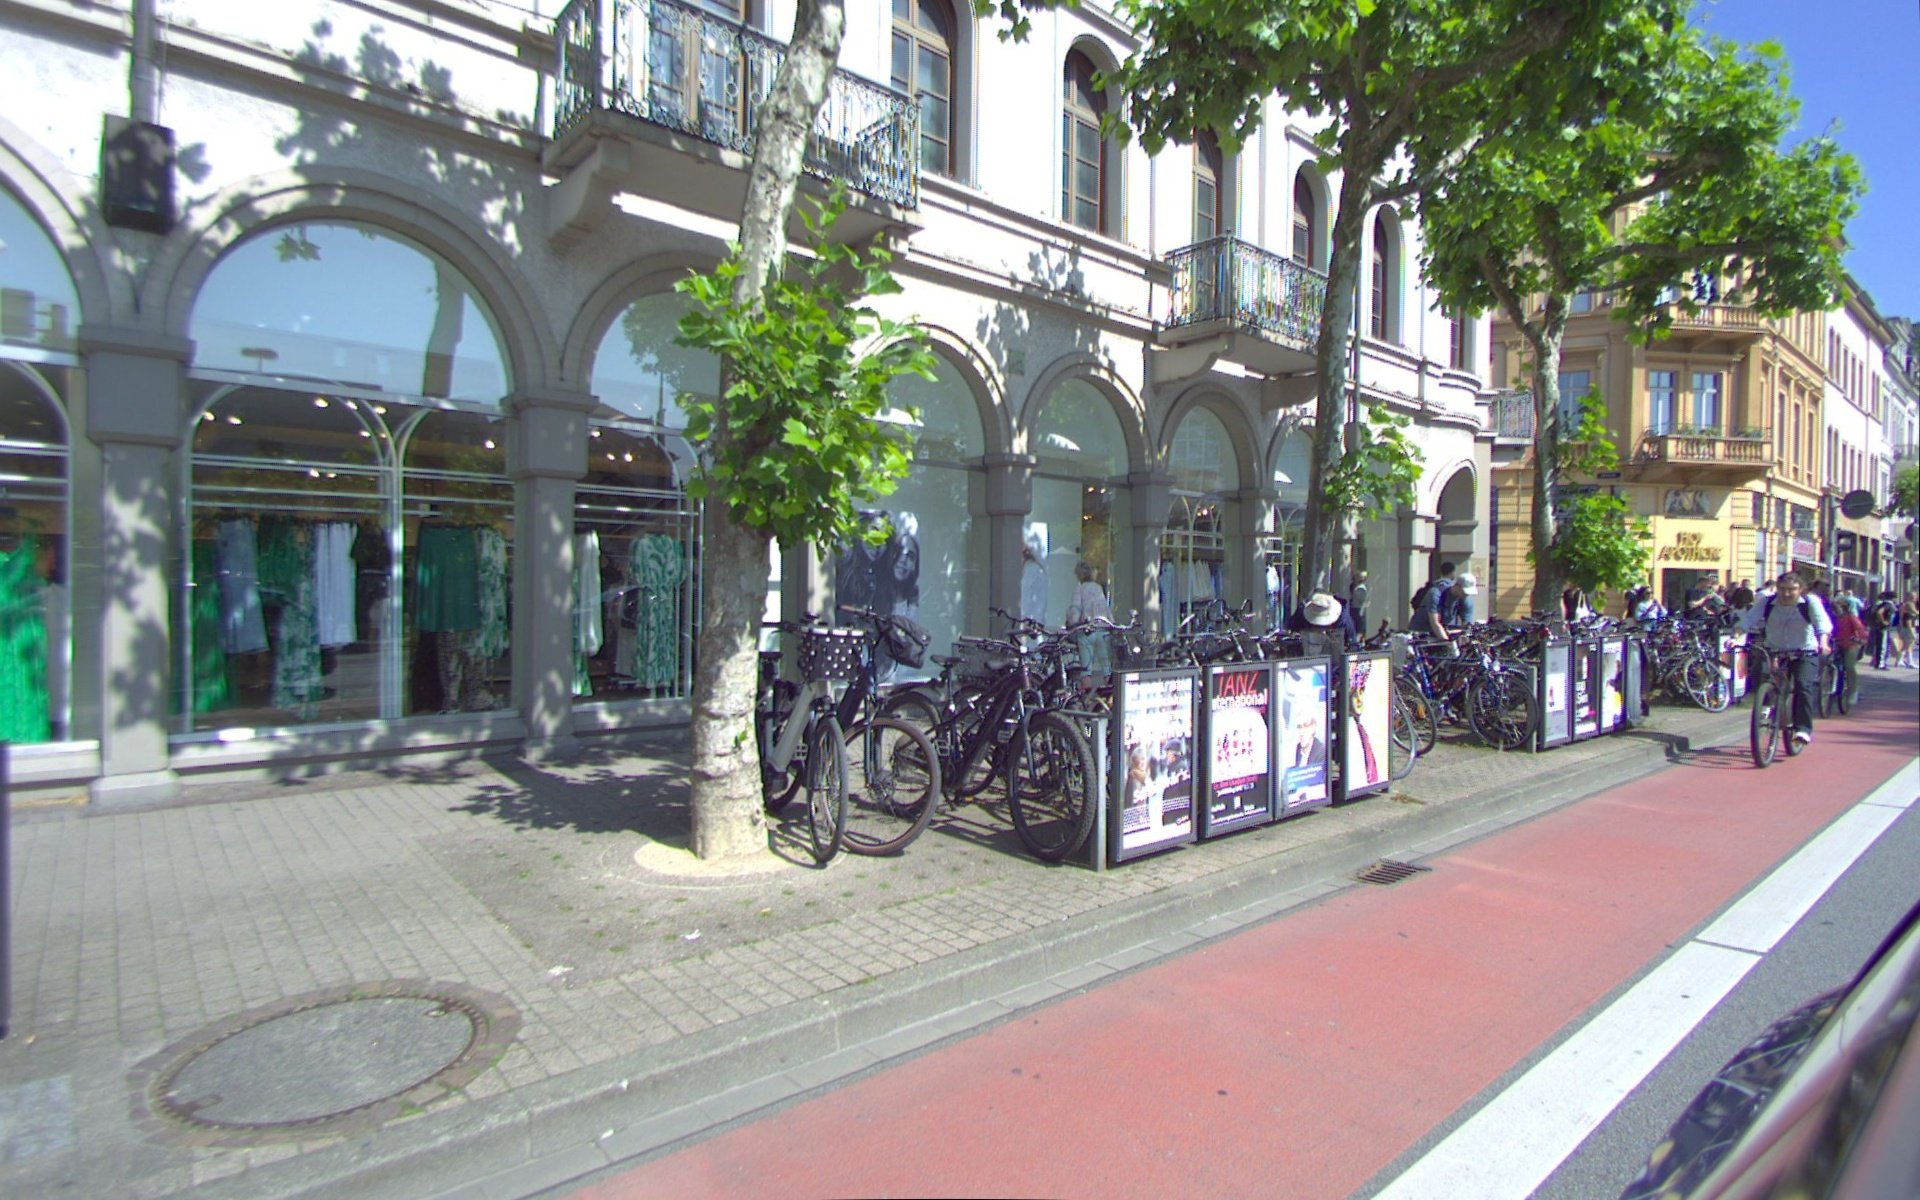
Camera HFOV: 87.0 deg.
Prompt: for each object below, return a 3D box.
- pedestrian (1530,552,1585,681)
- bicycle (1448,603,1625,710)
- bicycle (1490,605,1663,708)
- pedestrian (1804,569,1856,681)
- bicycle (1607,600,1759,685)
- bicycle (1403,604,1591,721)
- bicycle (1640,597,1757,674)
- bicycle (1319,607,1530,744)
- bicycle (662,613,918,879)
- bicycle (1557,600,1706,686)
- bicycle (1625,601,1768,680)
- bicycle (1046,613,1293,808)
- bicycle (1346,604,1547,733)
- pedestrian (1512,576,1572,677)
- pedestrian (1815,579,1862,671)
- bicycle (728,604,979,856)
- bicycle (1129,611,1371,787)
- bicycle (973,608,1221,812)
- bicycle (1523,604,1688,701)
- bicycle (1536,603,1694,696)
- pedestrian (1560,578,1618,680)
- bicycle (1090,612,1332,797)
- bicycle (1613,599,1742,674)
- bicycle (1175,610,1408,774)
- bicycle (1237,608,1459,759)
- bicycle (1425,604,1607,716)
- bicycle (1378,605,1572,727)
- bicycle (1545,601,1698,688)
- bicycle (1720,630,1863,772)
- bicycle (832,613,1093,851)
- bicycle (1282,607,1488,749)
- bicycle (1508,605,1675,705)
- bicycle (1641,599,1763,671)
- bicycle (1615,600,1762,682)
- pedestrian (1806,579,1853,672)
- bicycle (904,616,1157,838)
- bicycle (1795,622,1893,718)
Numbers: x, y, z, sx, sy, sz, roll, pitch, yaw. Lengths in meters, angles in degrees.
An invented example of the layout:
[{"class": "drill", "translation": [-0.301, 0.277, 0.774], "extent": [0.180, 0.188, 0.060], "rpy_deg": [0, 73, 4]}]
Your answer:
[{"class": "pedestrian", "translation": [9.084, 0.242, 15.384], "extent": [0.592, 1.906, 0.545], "rpy_deg": [0, -1, -43]}, {"class": "bicycle", "translation": [6.865, 0.633, 12.117], "extent": [0.582, 1.161, 1.755], "rpy_deg": [0, 1, -42]}, {"class": "bicycle", "translation": [7.646, 0.664, 12.610], "extent": [0.588, 1.161, 1.755], "rpy_deg": [0, 1, -42]}, {"class": "pedestrian", "translation": [14.829, 0.417, 17.243], "extent": [0.706, 1.869, 0.577], "rpy_deg": [0, -1, -44]}, {"class": "bicycle", "translation": [10.702, 0.602, 15.026], "extent": [0.582, 1.161, 1.755], "rpy_deg": [0, 1, -42]}, {"class": "bicycle", "translation": [5.908, 0.644, 11.222], "extent": [0.582, 1.161, 1.755], "rpy_deg": [0, 1, -42]}, {"class": "bicycle", "translation": [12.360, 0.573, 16.972], "extent": [0.418, 1.212, 1.531], "rpy_deg": [0, 1, -42]}, {"class": "bicycle", "translation": [4.401, 0.666, 9.685], "extent": [0.582, 1.161, 1.755], "rpy_deg": [0, 1, -42]}, {"class": "bicycle", "translation": [-0.973, 0.677, 5.427], "extent": [0.474, 1.161, 1.776], "rpy_deg": [0, 1, -42]}, {"class": "bicycle", "translation": [9.916, 0.599, 14.989], "extent": [0.582, 1.173, 1.755], "rpy_deg": [0, 1, -42]}, {"class": "bicycle", "translation": [11.611, 0.610, 15.993], "extent": [0.582, 1.161, 1.755], "rpy_deg": [0, 1, -42]}, {"class": "bicycle", "translation": [1.405, 0.695, 7.075], "extent": [0.474, 1.161, 1.755], "rpy_deg": [0, 1, -42]}, {"class": "bicycle", "translation": [4.895, 0.642, 10.285], "extent": [0.582, 1.161, 1.755], "rpy_deg": [0, 1, -42]}, {"class": "pedestrian", "translation": [10.672, 0.476, 18.560], "extent": [0.764, 1.805, 0.720], "rpy_deg": [0, -1, -43]}, {"class": "pedestrian", "translation": [16.833, 0.457, 19.388], "extent": [0.581, 1.705, 0.568], "rpy_deg": [0, 2, -44]}, {"class": "bicycle", "translation": [-0.676, 0.645, 5.824], "extent": [0.474, 1.209, 1.801], "rpy_deg": [0, 1, -42]}, {"class": "bicycle", "translation": [2.177, 0.686, 7.795], "extent": [0.582, 1.161, 1.755], "rpy_deg": [0, 1, -42]}, {"class": "bicycle", "translation": [0.855, 0.652, 6.763], "extent": [0.474, 1.161, 1.755], "rpy_deg": [0, 1, -42]}, {"class": "bicycle", "translation": [8.546, 0.657, 13.455], "extent": [0.582, 1.161, 1.755], "rpy_deg": [0, 1, -42]}, {"class": "bicycle", "translation": [9.020, 0.646, 13.989], "extent": [0.582, 1.161, 1.755], "rpy_deg": [0, 1, -42]}, {"class": "pedestrian", "translation": [11.183, 0.497, 17.984], "extent": [0.741, 1.762, 0.675], "rpy_deg": [0, -1, -43]}, {"class": "bicycle", "translation": [1.780, 0.691, 7.415], "extent": [0.474, 1.161, 1.755], "rpy_deg": [0, 1, -42]}, {"class": "bicycle", "translation": [11.816, 0.578, 16.706], "extent": [0.514, 1.161, 1.658], "rpy_deg": [0, 1, -42]}, {"class": "bicycle", "translation": [2.660, 0.681, 8.280], "extent": [0.582, 1.161, 1.755], "rpy_deg": [0, 1, -42]}, {"class": "bicycle", "translation": [3.365, 0.673, 8.908], "extent": [0.582, 1.161, 1.755], "rpy_deg": [0, 1, -42]}, {"class": "bicycle", "translation": [6.359, 0.640, 11.650], "extent": [0.582, 1.161, 1.755], "rpy_deg": [0, 1, -42]}, {"class": "bicycle", "translation": [5.433, 0.649, 10.770], "extent": [0.582, 1.161, 1.755], "rpy_deg": [0, 1, -42]}, {"class": "bicycle", "translation": [9.494, 0.604, 14.573], "extent": [0.582, 1.161, 1.755], "rpy_deg": [0, 1, -42]}, {"class": "bicycle", "translation": [7.610, 0.857, 9.234], "extent": [1.865, 1.107, 0.735], "rpy_deg": [0, -1, -43]}, {"class": "bicycle", "translation": [-0.047, 0.679, 5.936], "extent": [0.474, 1.161, 1.755], "rpy_deg": [0, 1, -42]}, {"class": "bicycle", "translation": [3.881, 0.667, 9.357], "extent": [0.510, 1.161, 1.705], "rpy_deg": [0, 1, -42]}, {"class": "bicycle", "translation": [8.091, 0.667, 13.031], "extent": [0.509, 1.161, 1.755], "rpy_deg": [0, 1, -42]}, {"class": "bicycle", "translation": [12.681, 0.567, 17.328], "extent": [0.418, 1.161, 1.630], "rpy_deg": [0, 1, -42]}, {"class": "bicycle", "translation": [11.163, 0.596, 15.551], "extent": [0.582, 1.161, 1.755], "rpy_deg": [0, 1, -42]}, {"class": "pedestrian", "translation": [16.381, 0.468, 19.067], "extent": [0.612, 1.706, 0.577], "rpy_deg": [0, -1, -44]}, {"class": "bicycle", "translation": [0.380, 0.708, 6.362], "extent": [0.474, 1.161, 1.755], "rpy_deg": [0, 1, -42]}, {"class": "bicycle", "translation": [11.205, 0.843, 12.809], "extent": [1.788, 1.107, 0.735], "rpy_deg": [0, -1, -43]}]
